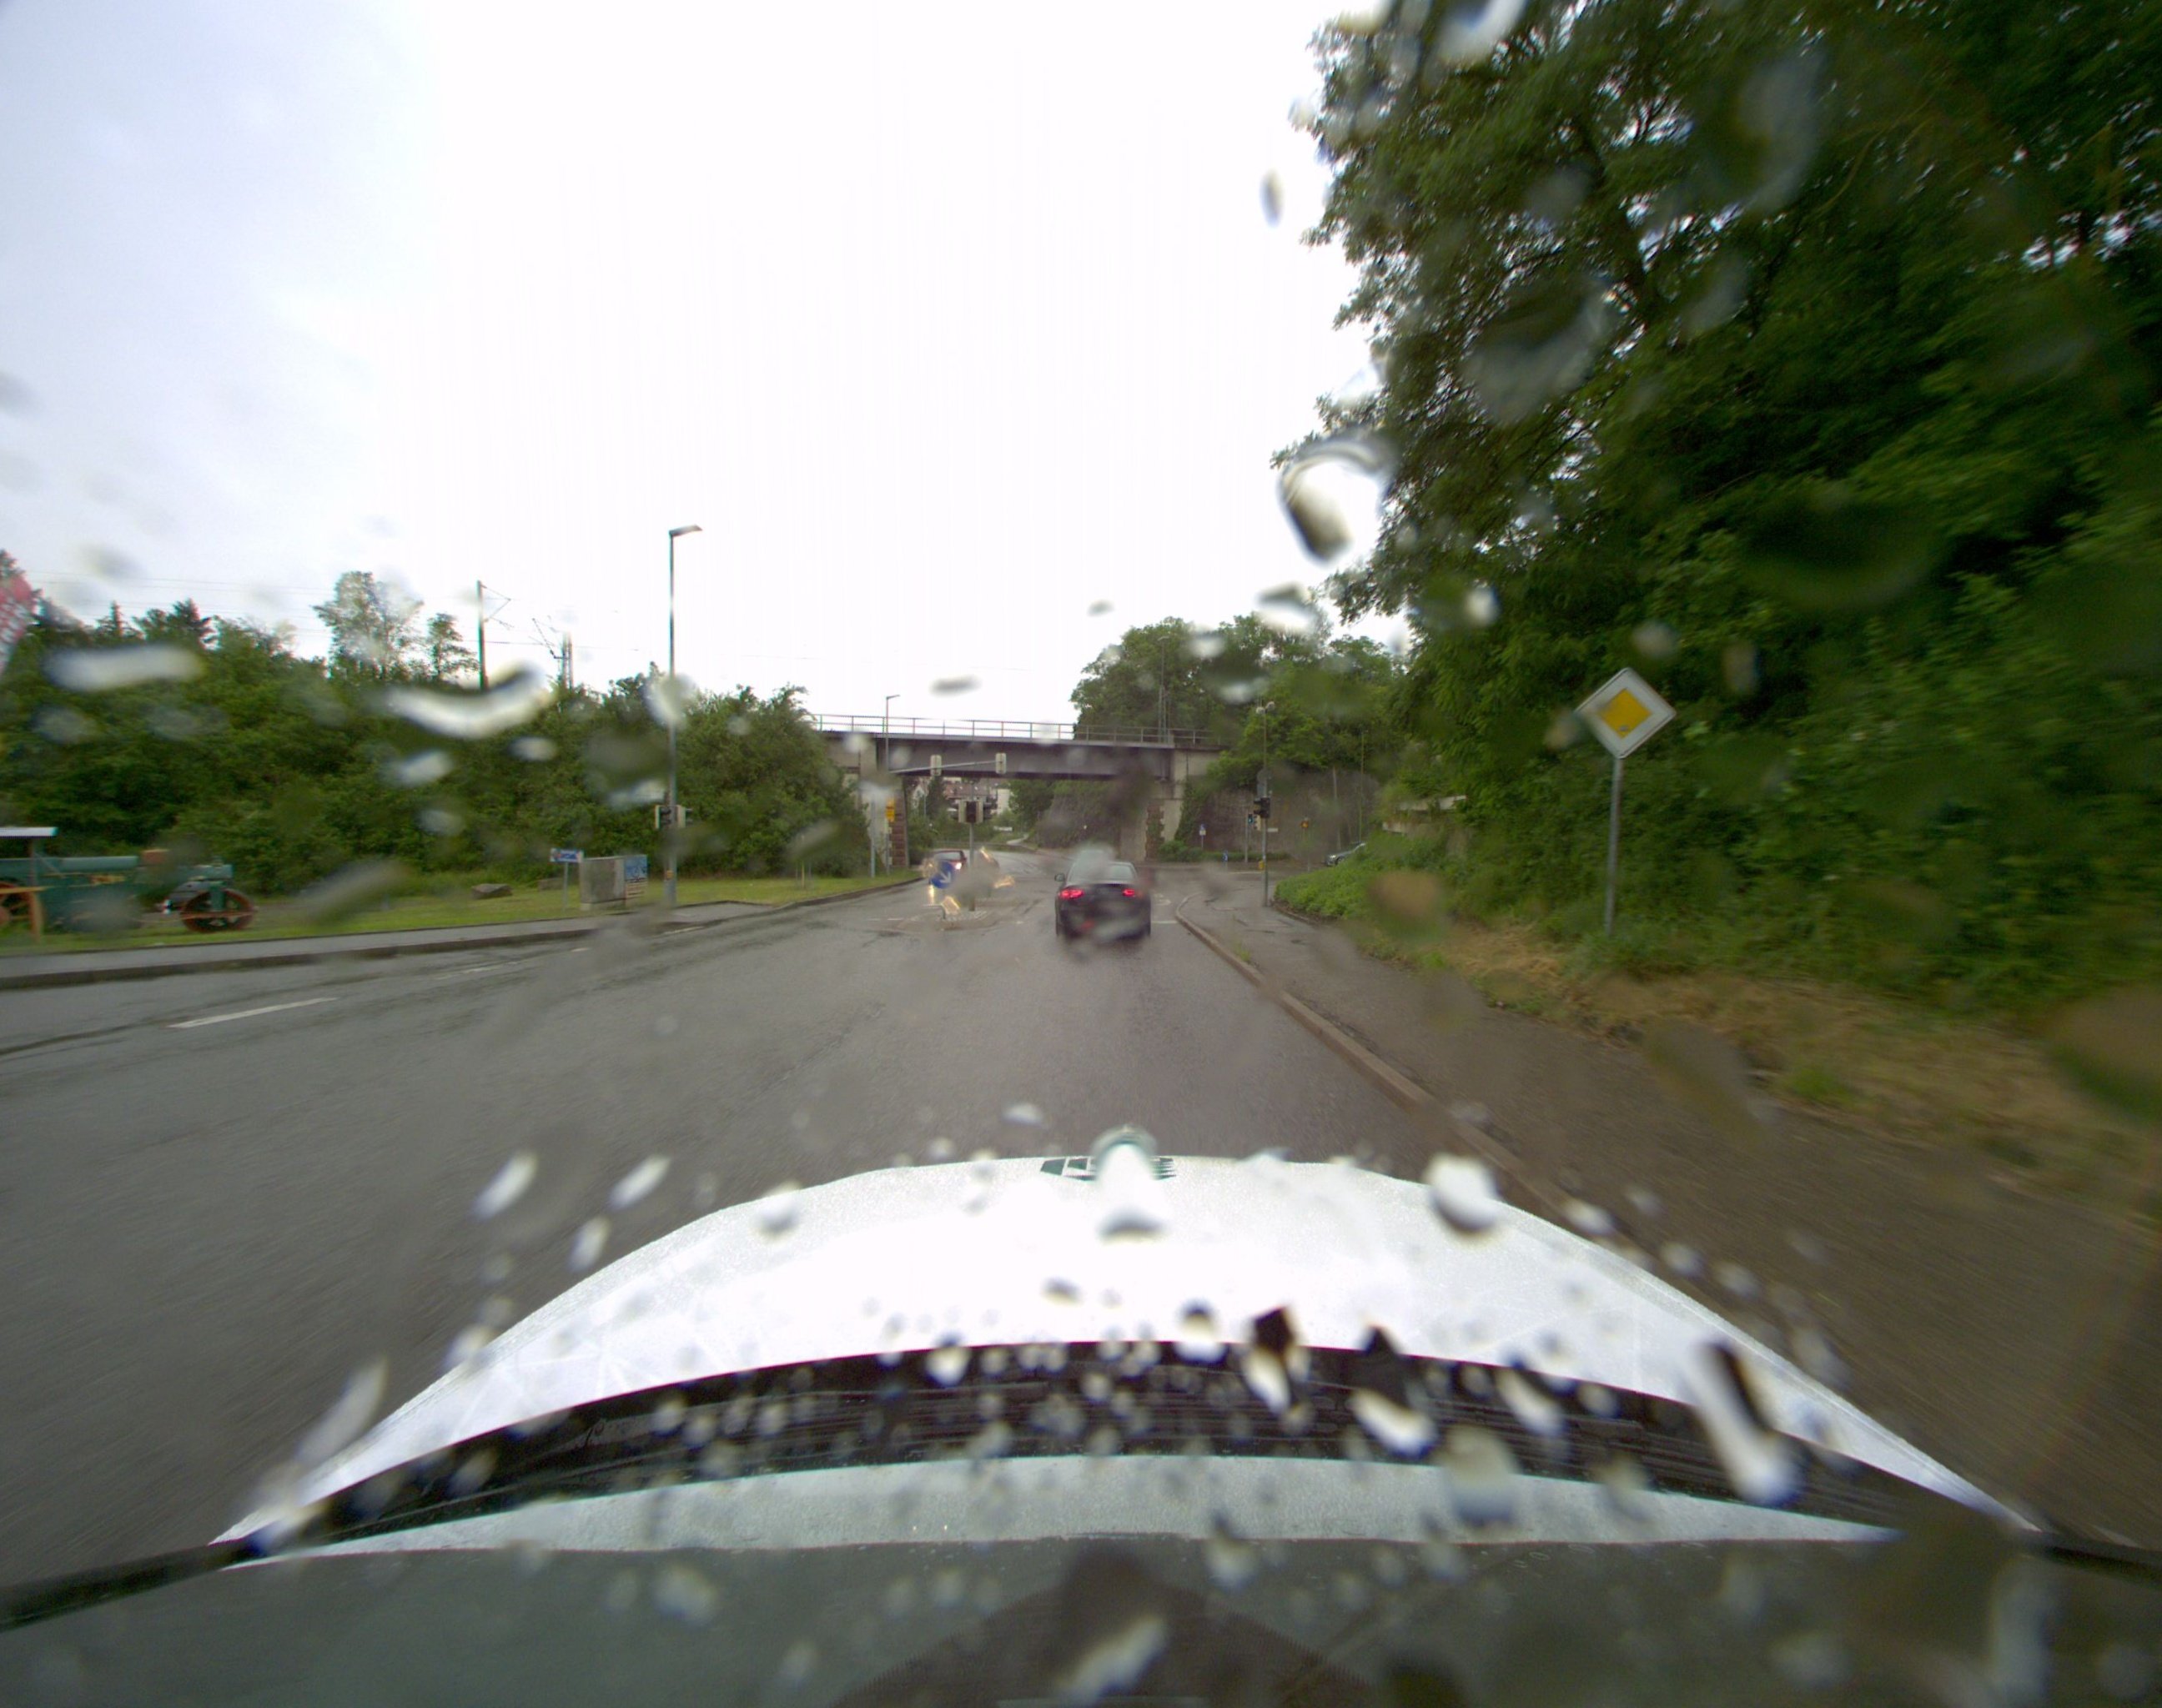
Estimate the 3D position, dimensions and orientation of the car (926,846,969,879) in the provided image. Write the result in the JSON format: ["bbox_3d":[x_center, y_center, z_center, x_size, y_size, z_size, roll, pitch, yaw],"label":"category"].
[{"bbox_3d":[-7.143,0.450,43.906,1.990,1.628,3.993,-2,0,-5],"label":"car"}]

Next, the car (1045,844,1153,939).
[{"bbox_3d":[0.369,0.695,16.149,1.863,1.617,4.001,-1,-1,2],"label":"car"}]

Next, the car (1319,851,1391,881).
[{"bbox_3d":[16.019,0.692,47.716,3.694,1.662,1.488,-1,-1,-6],"label":"car"}]

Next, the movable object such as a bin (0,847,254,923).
[{"bbox_3d":[-23.438,0.693,18.906,2.716,1.628,5.816,-2,-2,41],"label":"movable object such as a bin"}]

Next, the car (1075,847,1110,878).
[{"bbox_3d":[0.654,0.493,43.931,1.816,1.585,4.001,-1,-1,2],"label":"car"}]
